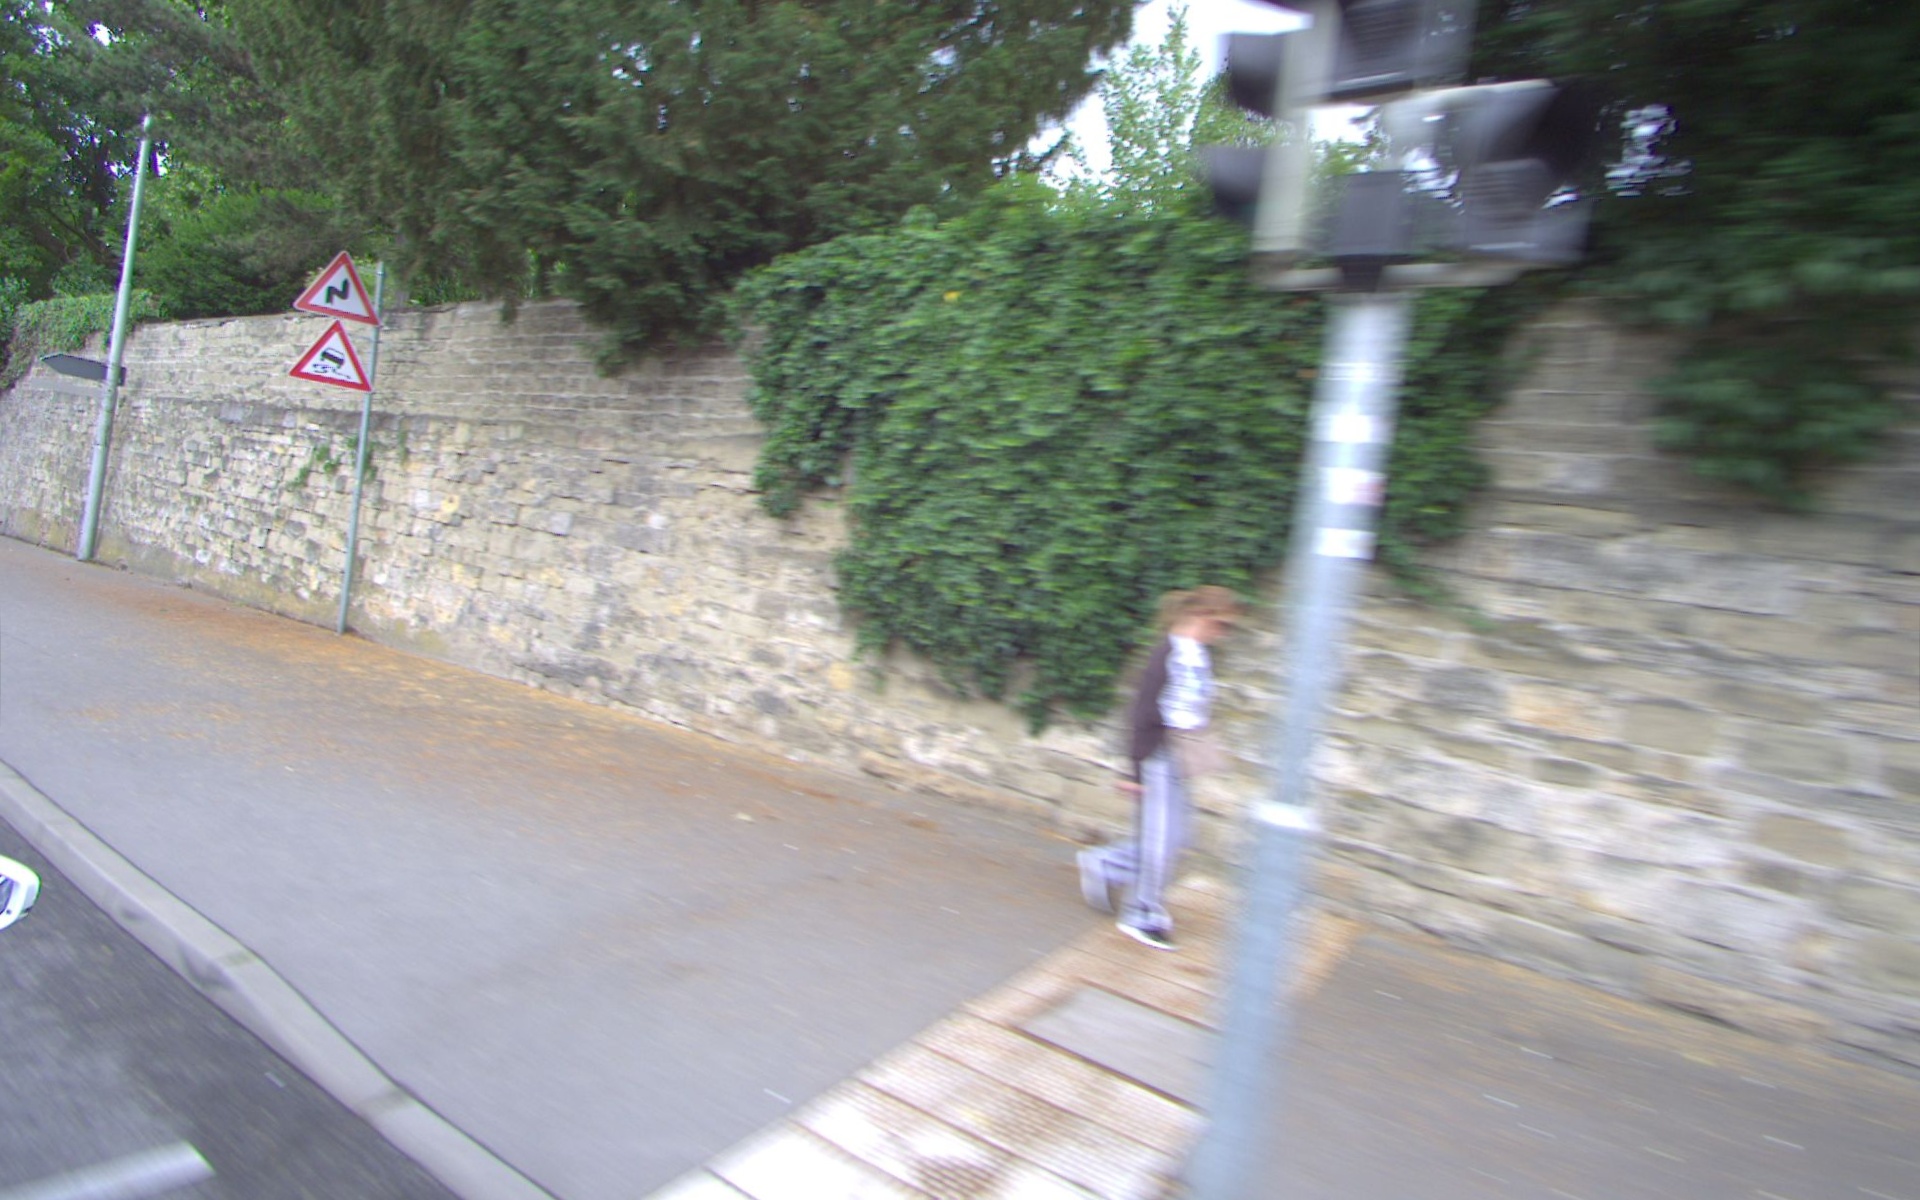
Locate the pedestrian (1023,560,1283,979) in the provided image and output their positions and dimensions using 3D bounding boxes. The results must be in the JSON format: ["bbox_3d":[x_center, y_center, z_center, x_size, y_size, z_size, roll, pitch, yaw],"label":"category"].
[{"bbox_3d":[0.859,0.676,4.433,0.731,1.597,0.731,8,3,33],"label":"pedestrian"}]
